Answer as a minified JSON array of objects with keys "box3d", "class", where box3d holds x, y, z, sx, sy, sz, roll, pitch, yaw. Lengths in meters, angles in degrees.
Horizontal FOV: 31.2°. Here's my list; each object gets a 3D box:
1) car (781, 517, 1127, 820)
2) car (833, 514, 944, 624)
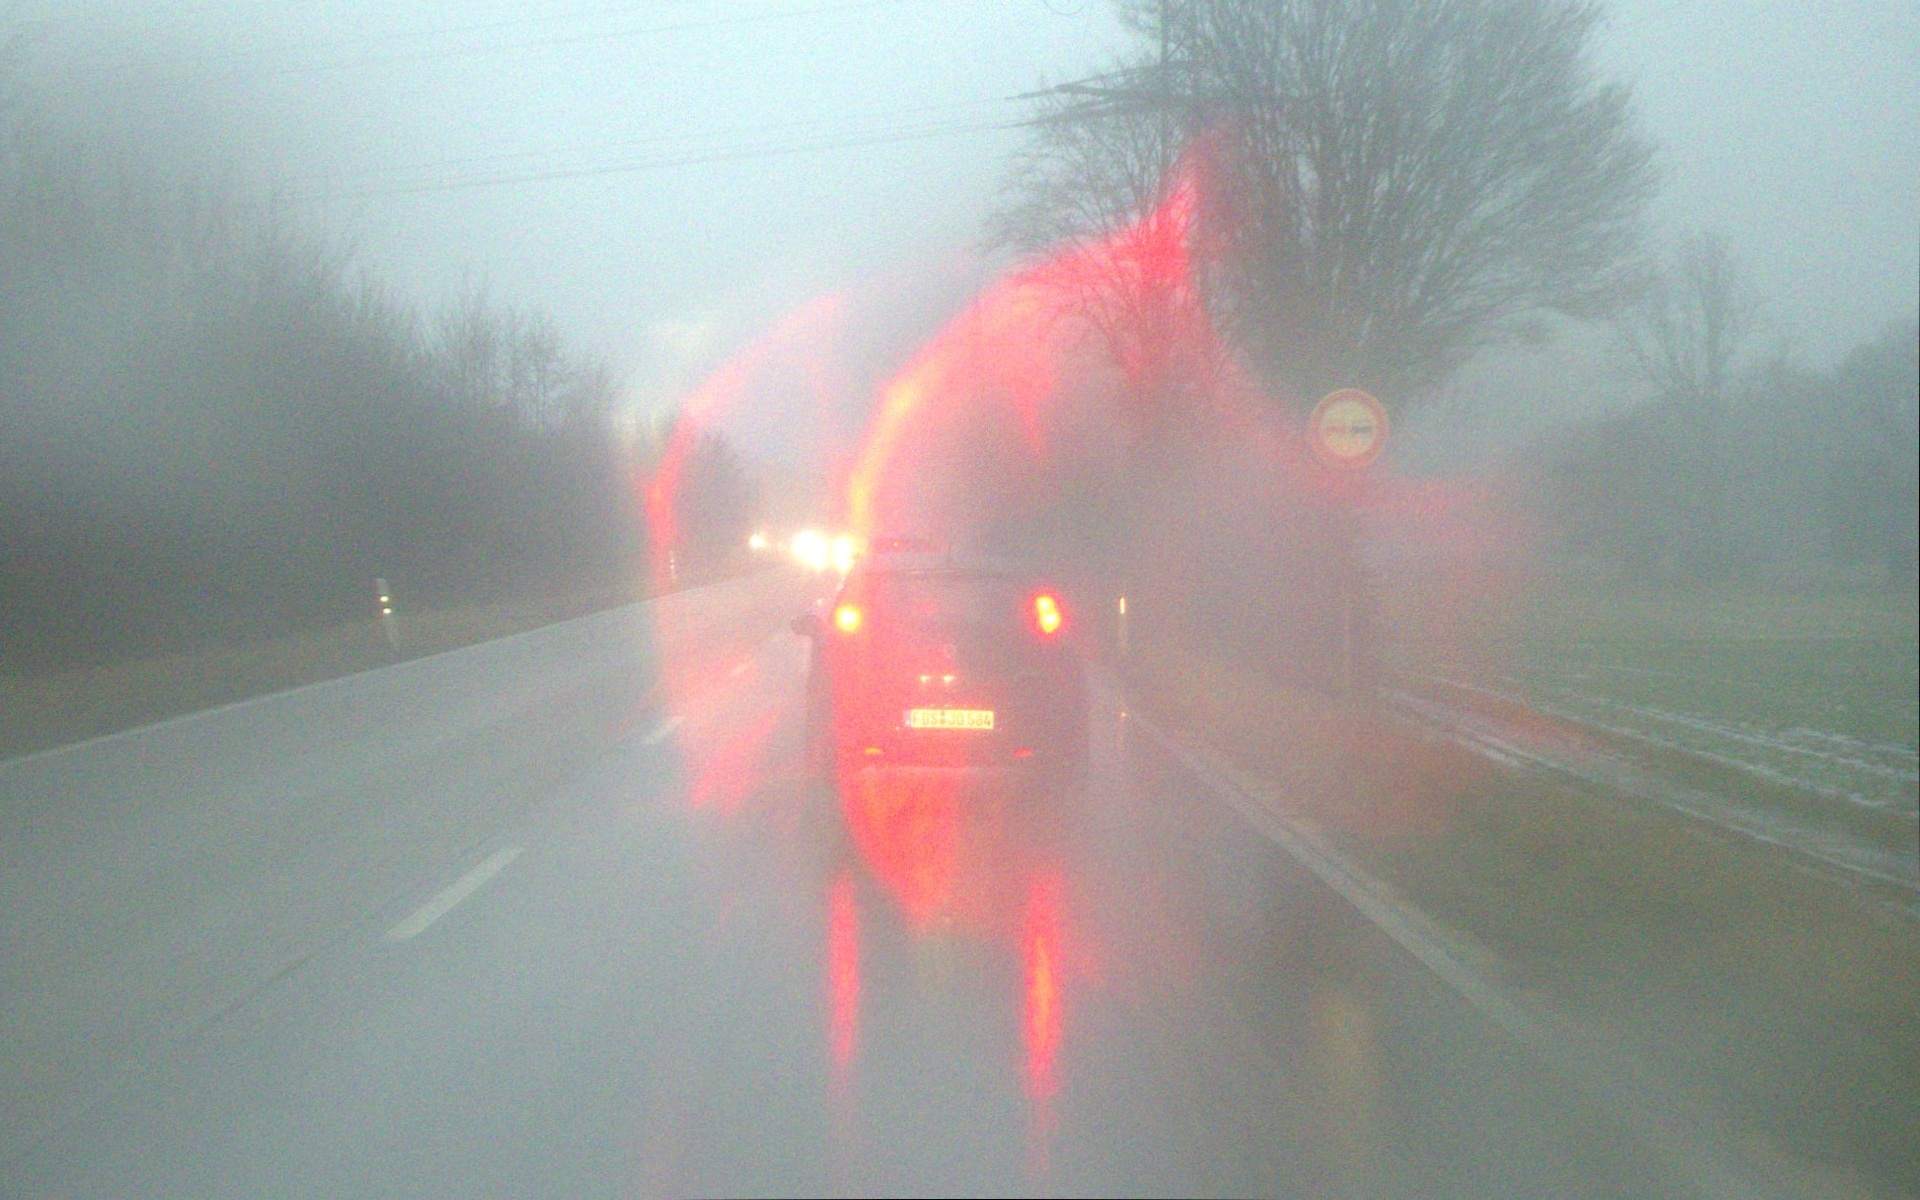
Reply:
[{"box3d":[-0.069,0.369,21.877,1.993,1.746,4.000,0,1,-1],"class":"car"},{"box3d":[-1.323,-0.599,65.196,1.993,2.007,4.000,0,1,0],"class":"car"}]
